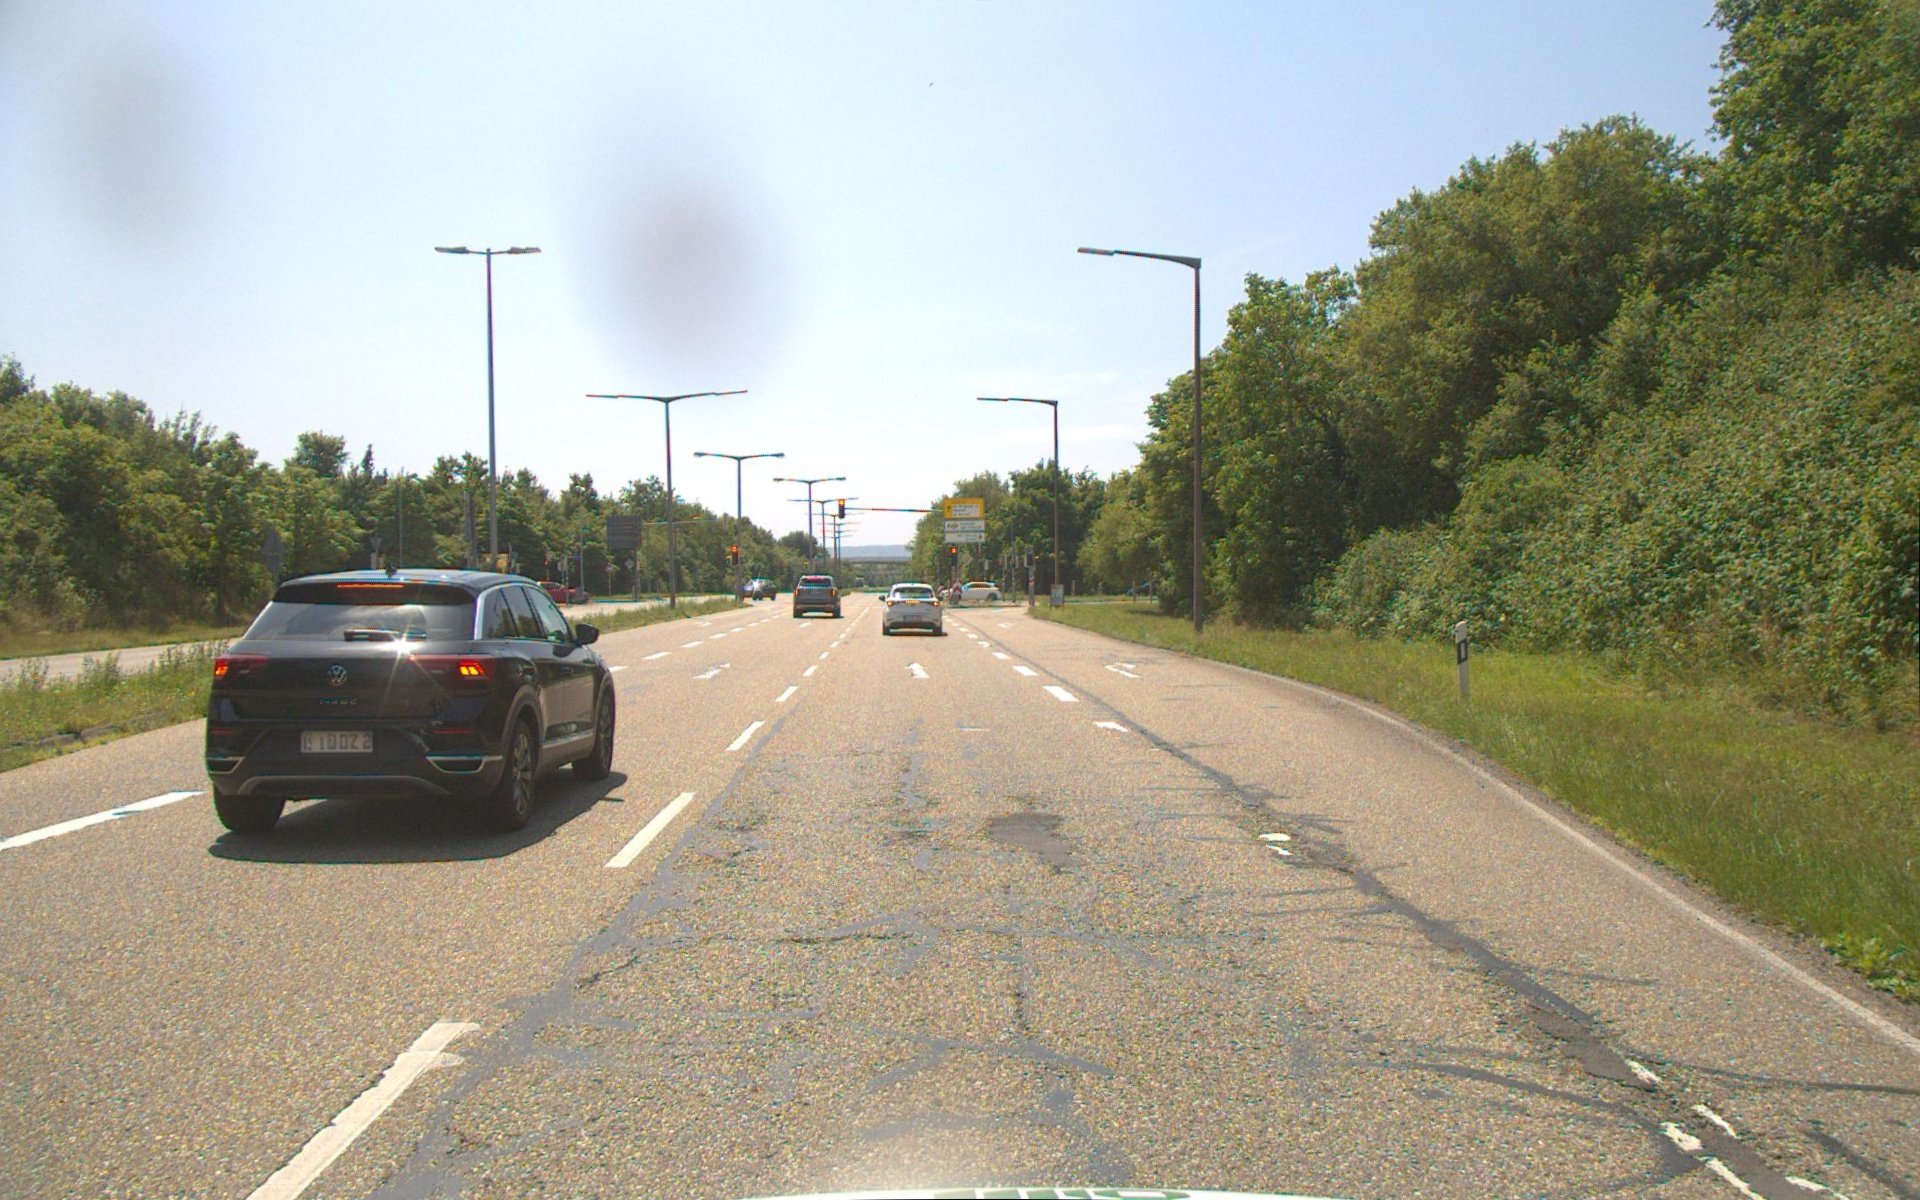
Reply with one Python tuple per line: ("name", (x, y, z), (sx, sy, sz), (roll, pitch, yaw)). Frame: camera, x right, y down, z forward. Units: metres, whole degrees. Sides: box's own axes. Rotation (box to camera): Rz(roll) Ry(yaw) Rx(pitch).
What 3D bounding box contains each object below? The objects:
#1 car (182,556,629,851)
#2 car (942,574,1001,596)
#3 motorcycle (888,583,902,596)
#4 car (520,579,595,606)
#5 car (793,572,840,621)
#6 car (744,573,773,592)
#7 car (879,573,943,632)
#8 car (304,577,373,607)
("car", (-3.390, 0.541, 10.931), (1.720, 1.583, 3.999), (0, 0, -2))
("car", (0.815, -1.126, 121.314), (4.027, 1.552, 1.933), (-1, 1, -11))
("motorcycle", (-6.709, -1.080, 170.225), (1.396, 1.303, 2.568), (-2, 0, -2))
("car", (-25.077, -0.472, 103.112), (4.441, 1.669, 1.973), (0, 1, -11))
("car", (-5.946, -0.165, 68.893), (1.720, 1.962, 3.999), (0, 0, -2))
("car", (-16.395, -1.402, 134.725), (1.790, 1.545, 4.000), (0, 1, 0))
("car", (-1.388, 0.055, 48.113), (1.760, 1.610, 3.999), (-1, 0, -1))
("car", (-39.383, -0.512, 104.917), (3.920, 1.862, 1.992), (0, 1, -15))
